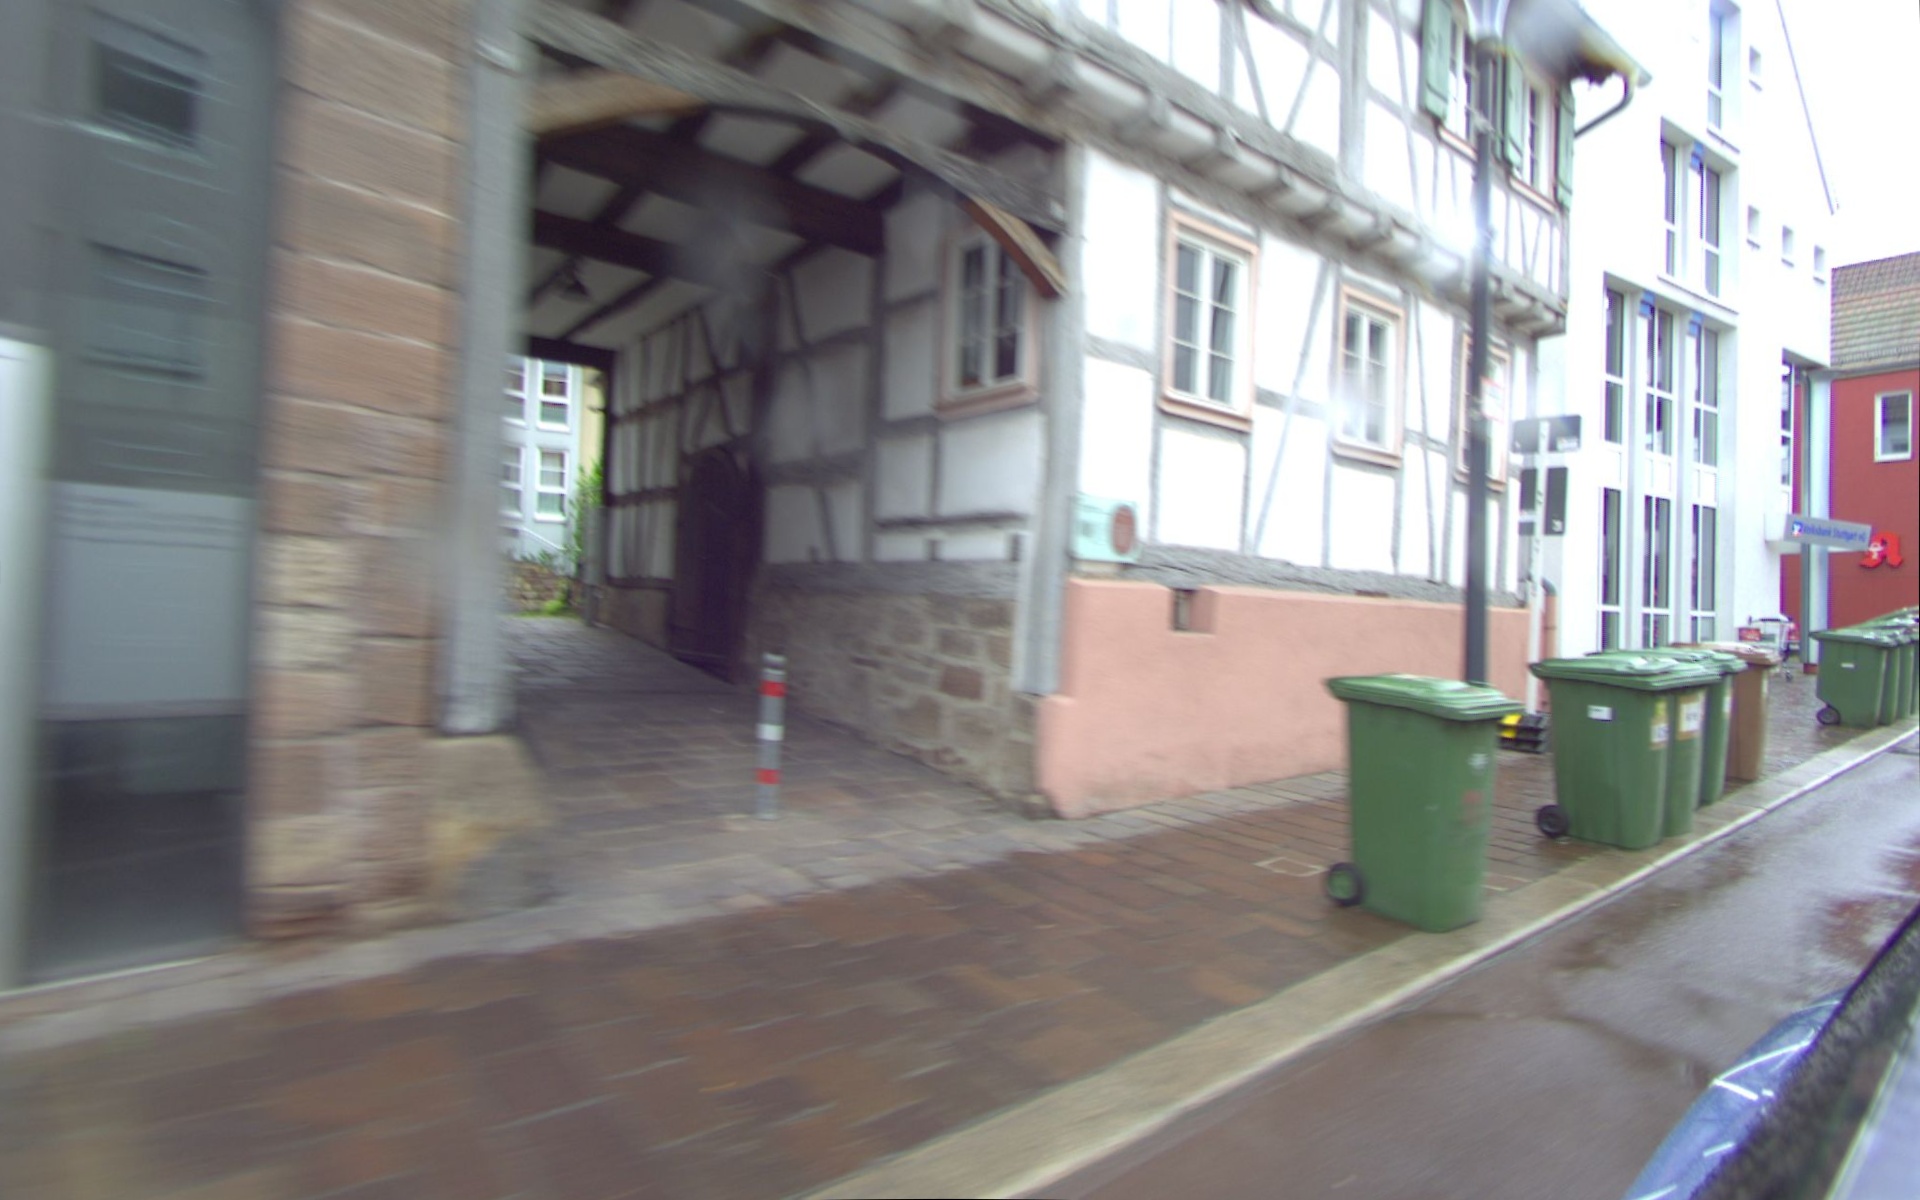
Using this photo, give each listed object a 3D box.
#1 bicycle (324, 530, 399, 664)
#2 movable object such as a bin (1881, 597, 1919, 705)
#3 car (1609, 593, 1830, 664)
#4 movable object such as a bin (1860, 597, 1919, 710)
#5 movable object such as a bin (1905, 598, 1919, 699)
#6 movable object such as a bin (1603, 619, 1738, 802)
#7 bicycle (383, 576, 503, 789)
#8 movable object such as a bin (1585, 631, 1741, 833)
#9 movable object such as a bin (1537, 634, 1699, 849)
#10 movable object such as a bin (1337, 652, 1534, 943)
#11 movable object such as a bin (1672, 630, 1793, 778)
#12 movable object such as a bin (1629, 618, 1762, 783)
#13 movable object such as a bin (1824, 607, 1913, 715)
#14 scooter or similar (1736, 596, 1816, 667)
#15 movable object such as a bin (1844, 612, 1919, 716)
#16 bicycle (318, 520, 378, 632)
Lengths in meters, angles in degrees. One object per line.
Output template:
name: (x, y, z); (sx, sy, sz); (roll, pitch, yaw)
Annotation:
bicycle: (-4.862, -0.053, 8.191); (0.287, 0.892, 1.406); (2, 6, -39)
movable object such as a bin: (11.966, 0.624, 12.574); (0.620, 1.306, 0.640); (0, 0, -34)
car: (18.924, 0.671, 25.409); (1.872, 1.533, 4.006); (2, 0, -28)
movable object such as a bin: (11.314, 0.622, 12.134); (0.620, 1.306, 0.640); (0, 0, -34)
movable object such as a bin: (12.745, 0.628, 13.094); (0.620, 1.306, 0.640); (0, 0, -34)
movable object such as a bin: (4.919, 0.722, 7.006); (0.621, 1.161, 0.639); (0, 0, -42)
bicycle: (-2.962, 0.411, 5.745); (0.287, 0.892, 1.407); (1, 8, -39)
movable object such as a bin: (4.458, 0.797, 6.426); (0.592, 1.161, 0.640); (0, 0, -34)
movable object such as a bin: (3.931, 0.802, 6.059); (0.569, 1.161, 0.640); (0, 0, -34)
movable object such as a bin: (2.146, 0.834, 4.580); (0.589, 1.142, 0.610); (0, 0, -39)
movable object such as a bin: (6.312, 0.815, 8.271); (0.639, 1.110, 0.679); (0, -1, -43)
movable object such as a bin: (5.390, 0.704, 7.421); (0.577, 1.095, 0.671); (-1, 2, -41)
movable object such as a bin: (10.180, 0.658, 11.345); (0.620, 1.145, 0.618); (0, 0, -35)
scooter or similar: (14.141, 0.524, 17.529); (1.418, 1.160, 0.667); (-1, 0, -33)
movable object such as a bin: (10.752, 0.718, 11.734); (0.620, 1.145, 0.618); (0, 0, -35)
bicycle: (-5.733, -0.252, 9.461); (0.287, 0.892, 1.406); (0, 7, -39)
